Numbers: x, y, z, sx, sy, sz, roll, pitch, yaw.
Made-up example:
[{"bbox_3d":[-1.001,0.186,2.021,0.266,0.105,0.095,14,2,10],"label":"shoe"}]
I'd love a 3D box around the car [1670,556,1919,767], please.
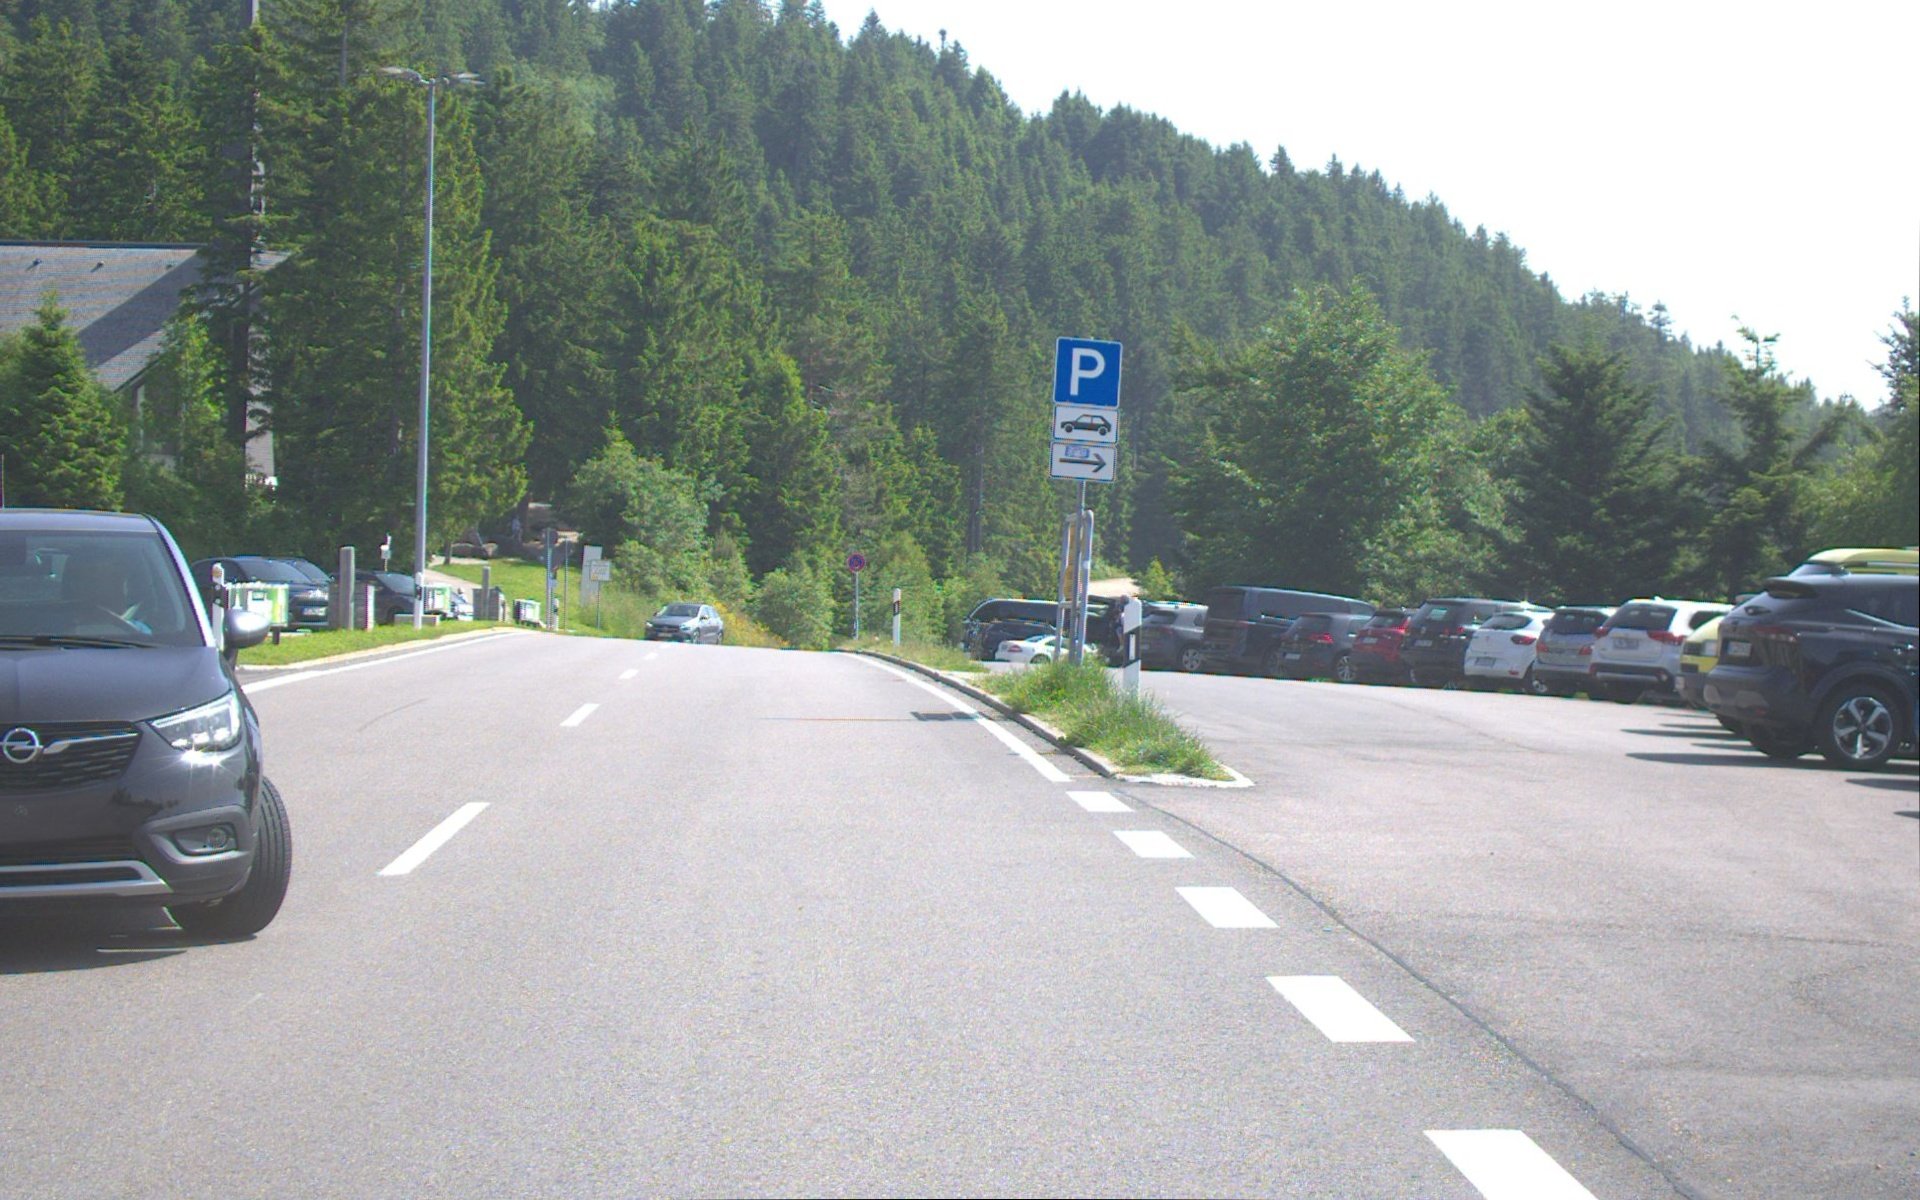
[{"bbox_3d":[8.223,0.564,28.709,3.986,1.608,1.917,3,0,-8],"label":"car"}]

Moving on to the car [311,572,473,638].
[{"bbox_3d":[-15.128,0.130,91.471,4.206,1.628,1.785,1,-1,37],"label":"car"}]

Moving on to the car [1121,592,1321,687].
[{"bbox_3d":[5.968,0.911,78.602,3.986,1.656,2.000,8,-3,-30],"label":"car"}]

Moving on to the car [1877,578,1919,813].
[{"bbox_3d":[8.266,0.763,22.295,3.986,1.504,1.843,4,1,-12],"label":"car"}]

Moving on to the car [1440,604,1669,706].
[{"bbox_3d":[10.598,0.993,61.147,3.988,1.471,1.767,5,-1,-40],"label":"car"}]

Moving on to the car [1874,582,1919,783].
[{"bbox_3d":[9.025,0.759,26.134,3.580,1.490,1.648,4,1,-2],"label":"car"}]

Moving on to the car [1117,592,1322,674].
[{"bbox_3d":[5.704,0.718,75.544,3.986,1.438,1.840,5,-1,-24],"label":"car"}]

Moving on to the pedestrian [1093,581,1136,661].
[{"bbox_3d":[3.545,0.482,78.904,0.580,1.755,0.631,4,-2,40],"label":"pedestrian"}]

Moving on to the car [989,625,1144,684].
[{"bbox_3d":[3.313,1.695,107.409,4.452,1.294,1.583,7,-1,-19],"label":"car"}]

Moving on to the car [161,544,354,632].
[{"bbox_3d":[-13.371,-0.245,65.296,1.778,1.546,3.998,1,1,-42],"label":"car"}]

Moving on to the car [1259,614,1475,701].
[{"bbox_3d":[8.224,1.163,69.411,3.986,1.410,1.745,5,-1,-30],"label":"car"}]

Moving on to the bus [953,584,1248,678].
[{"bbox_3d":[6.362,1.364,155.969,12.869,3.566,2.980,3,1,14],"label":"bus"}]

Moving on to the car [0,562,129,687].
[{"bbox_3d":[-12.969,0.281,45.692,1.803,1.535,4.190,0,1,-45],"label":"car"}]

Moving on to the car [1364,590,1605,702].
[{"bbox_3d":[9.723,0.858,63.628,4.260,1.689,1.990,5,-1,-40],"label":"car"}]

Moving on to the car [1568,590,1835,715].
[{"bbox_3d":[11.790,0.844,54.536,4.214,1.689,1.863,4,0,-40],"label":"car"}]

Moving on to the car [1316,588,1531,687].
[{"bbox_3d":[9.043,0.736,66.931,3.988,1.584,1.863,5,-1,-40],"label":"car"}]

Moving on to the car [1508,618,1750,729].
[{"bbox_3d":[11.342,1.259,58.191,3.988,1.543,1.820,5,-1,-40],"label":"car"}]

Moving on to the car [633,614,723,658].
[{"bbox_3d":[-9.768,1.230,119.241,1.582,1.424,3.367,2,1,26],"label":"car"}]

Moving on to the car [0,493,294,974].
[{"bbox_3d":[-3.649,0.419,13.553,1.979,1.611,4.151,0,1,-11],"label":"car"}]

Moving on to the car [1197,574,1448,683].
[{"bbox_3d":[7.627,0.604,72.420,4.756,1.873,1.967,5,-1,-22],"label":"car"}]

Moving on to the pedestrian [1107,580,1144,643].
[{"bbox_3d":[3.703,0.255,76.855,0.773,1.398,0.669,1,1,3],"label":"pedestrian"}]

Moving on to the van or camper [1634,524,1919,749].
[{"bbox_3d":[9.633,0.456,34.799,5.090,2.006,1.882,5,1,0],"label":"van or camper"}]

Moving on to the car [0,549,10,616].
[{"bbox_3d":[-22.214,-0.394,72.155,1.906,1.415,3.990,1,1,42],"label":"car"}]
